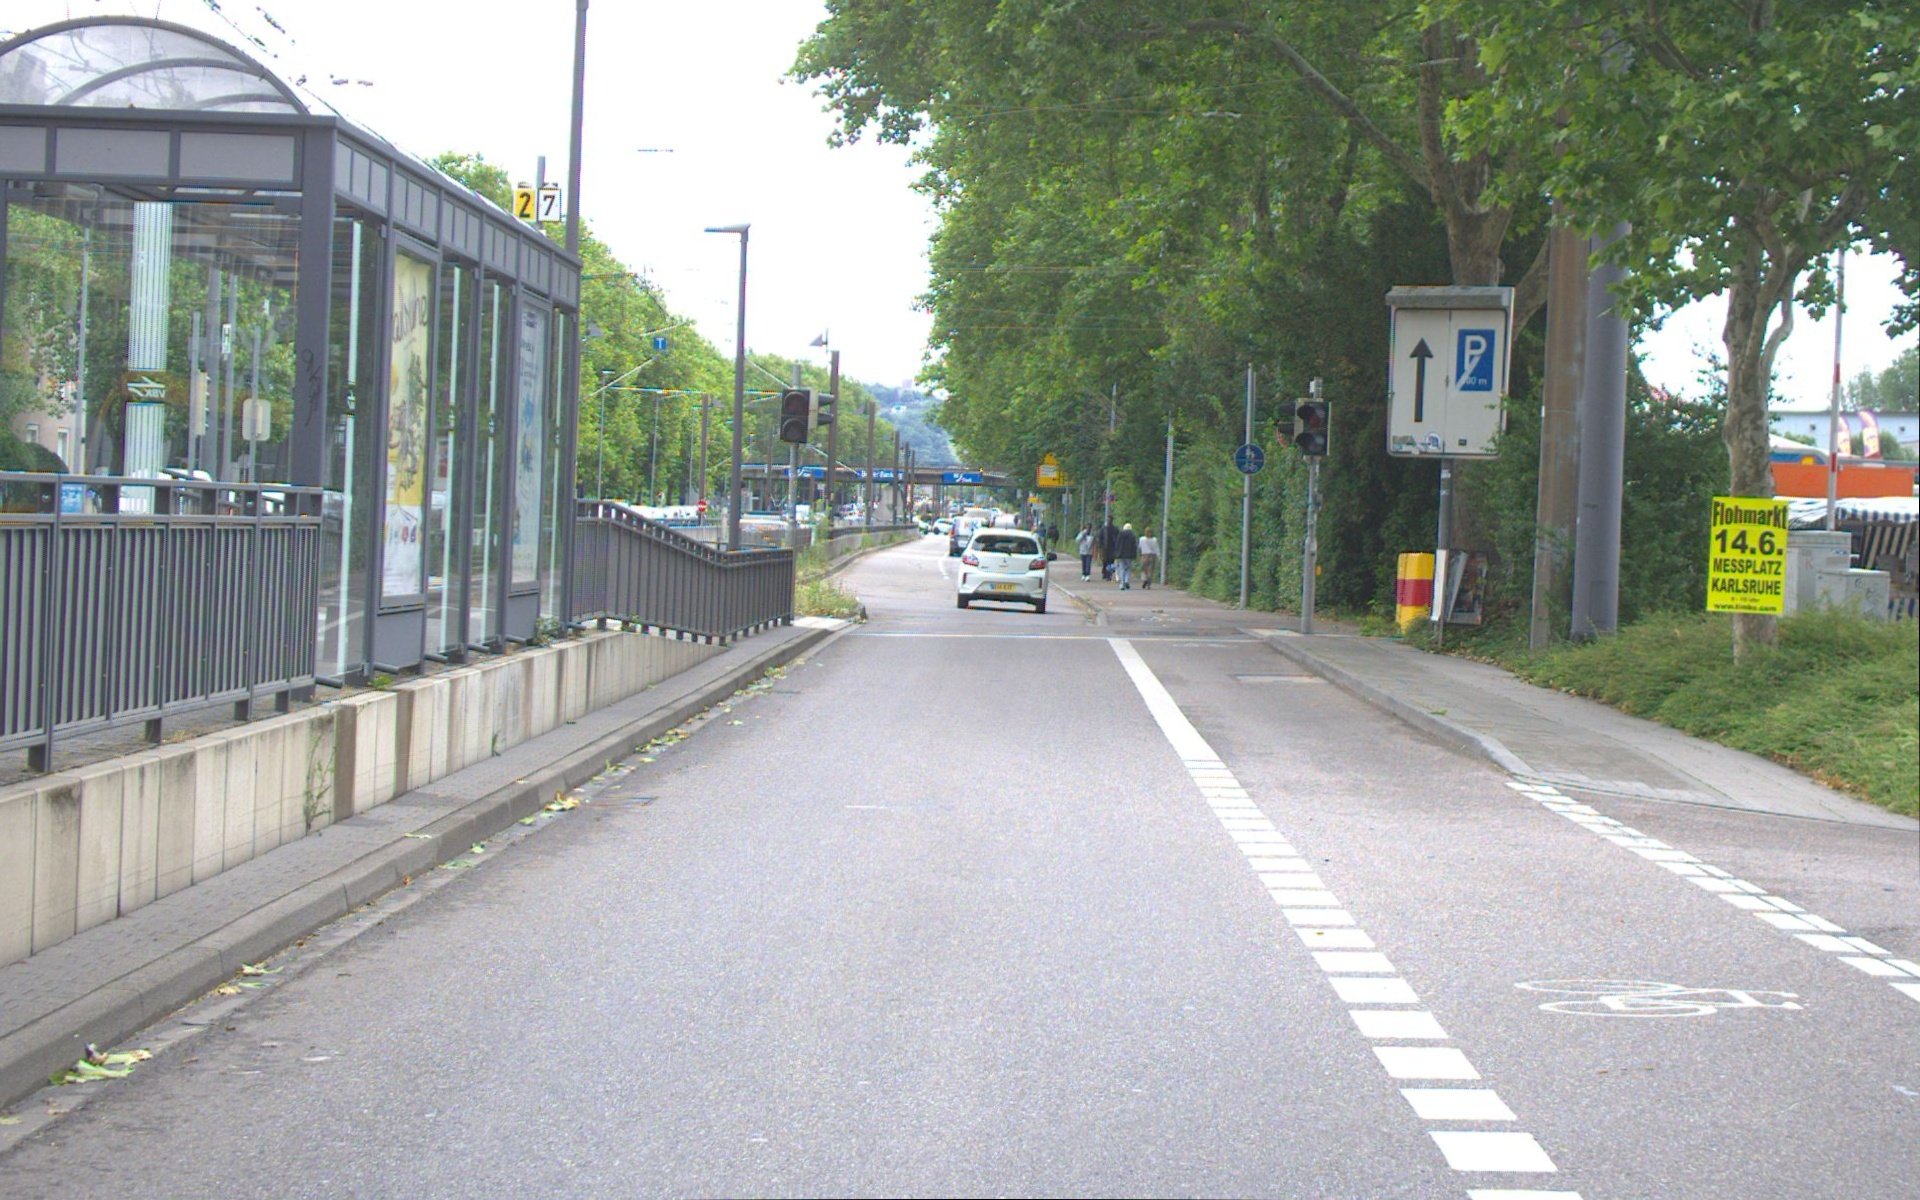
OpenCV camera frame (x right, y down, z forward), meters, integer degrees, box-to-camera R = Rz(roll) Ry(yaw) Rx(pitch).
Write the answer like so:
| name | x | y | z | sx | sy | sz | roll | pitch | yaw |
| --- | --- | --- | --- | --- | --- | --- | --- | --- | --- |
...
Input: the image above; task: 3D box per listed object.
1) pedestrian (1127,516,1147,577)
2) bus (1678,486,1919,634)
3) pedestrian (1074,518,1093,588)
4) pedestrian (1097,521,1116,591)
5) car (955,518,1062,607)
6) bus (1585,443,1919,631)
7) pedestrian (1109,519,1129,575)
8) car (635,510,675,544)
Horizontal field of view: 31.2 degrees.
| name | x | y | z | sx | sy | sz | roll | pitch | yaw |
| --- | --- | --- | --- | --- | --- | --- | --- | --- | --- |
| pedestrian | 4.606 | -1.385 | 89.518 | 0.396 | 1.580 | 0.538 | 2 | 1 | 10 |
| bus | 16.498 | -0.546 | 55.578 | 9.276 | 2.220 | 2.000 | 2 | 1 | -1 |
| pedestrian | 3.577 | -1.344 | 99.264 | 0.396 | 2.007 | 0.402 | 2 | 1 | 16 |
| pedestrian | 4.223 | -1.276 | 99.095 | 0.396 | 2.007 | 0.402 | 2 | 1 | 16 |
| car | 0.927 | -0.713 | 63.131 | 1.841 | 1.546 | 4.000 | 2 | 1 | 2 |
| bus | 15.542 | -0.998 | 58.629 | 9.276 | 2.949 | 2.000 | 2 | 1 | -1 |
| pedestrian | 4.147 | -1.387 | 89.576 | 0.396 | 1.439 | 0.563 | 2 | 1 | 10 |
| car | -16.690 | -3.991 | 188.419 | 1.993 | 1.787 | 4.001 | 2 | 1 | -3 |
